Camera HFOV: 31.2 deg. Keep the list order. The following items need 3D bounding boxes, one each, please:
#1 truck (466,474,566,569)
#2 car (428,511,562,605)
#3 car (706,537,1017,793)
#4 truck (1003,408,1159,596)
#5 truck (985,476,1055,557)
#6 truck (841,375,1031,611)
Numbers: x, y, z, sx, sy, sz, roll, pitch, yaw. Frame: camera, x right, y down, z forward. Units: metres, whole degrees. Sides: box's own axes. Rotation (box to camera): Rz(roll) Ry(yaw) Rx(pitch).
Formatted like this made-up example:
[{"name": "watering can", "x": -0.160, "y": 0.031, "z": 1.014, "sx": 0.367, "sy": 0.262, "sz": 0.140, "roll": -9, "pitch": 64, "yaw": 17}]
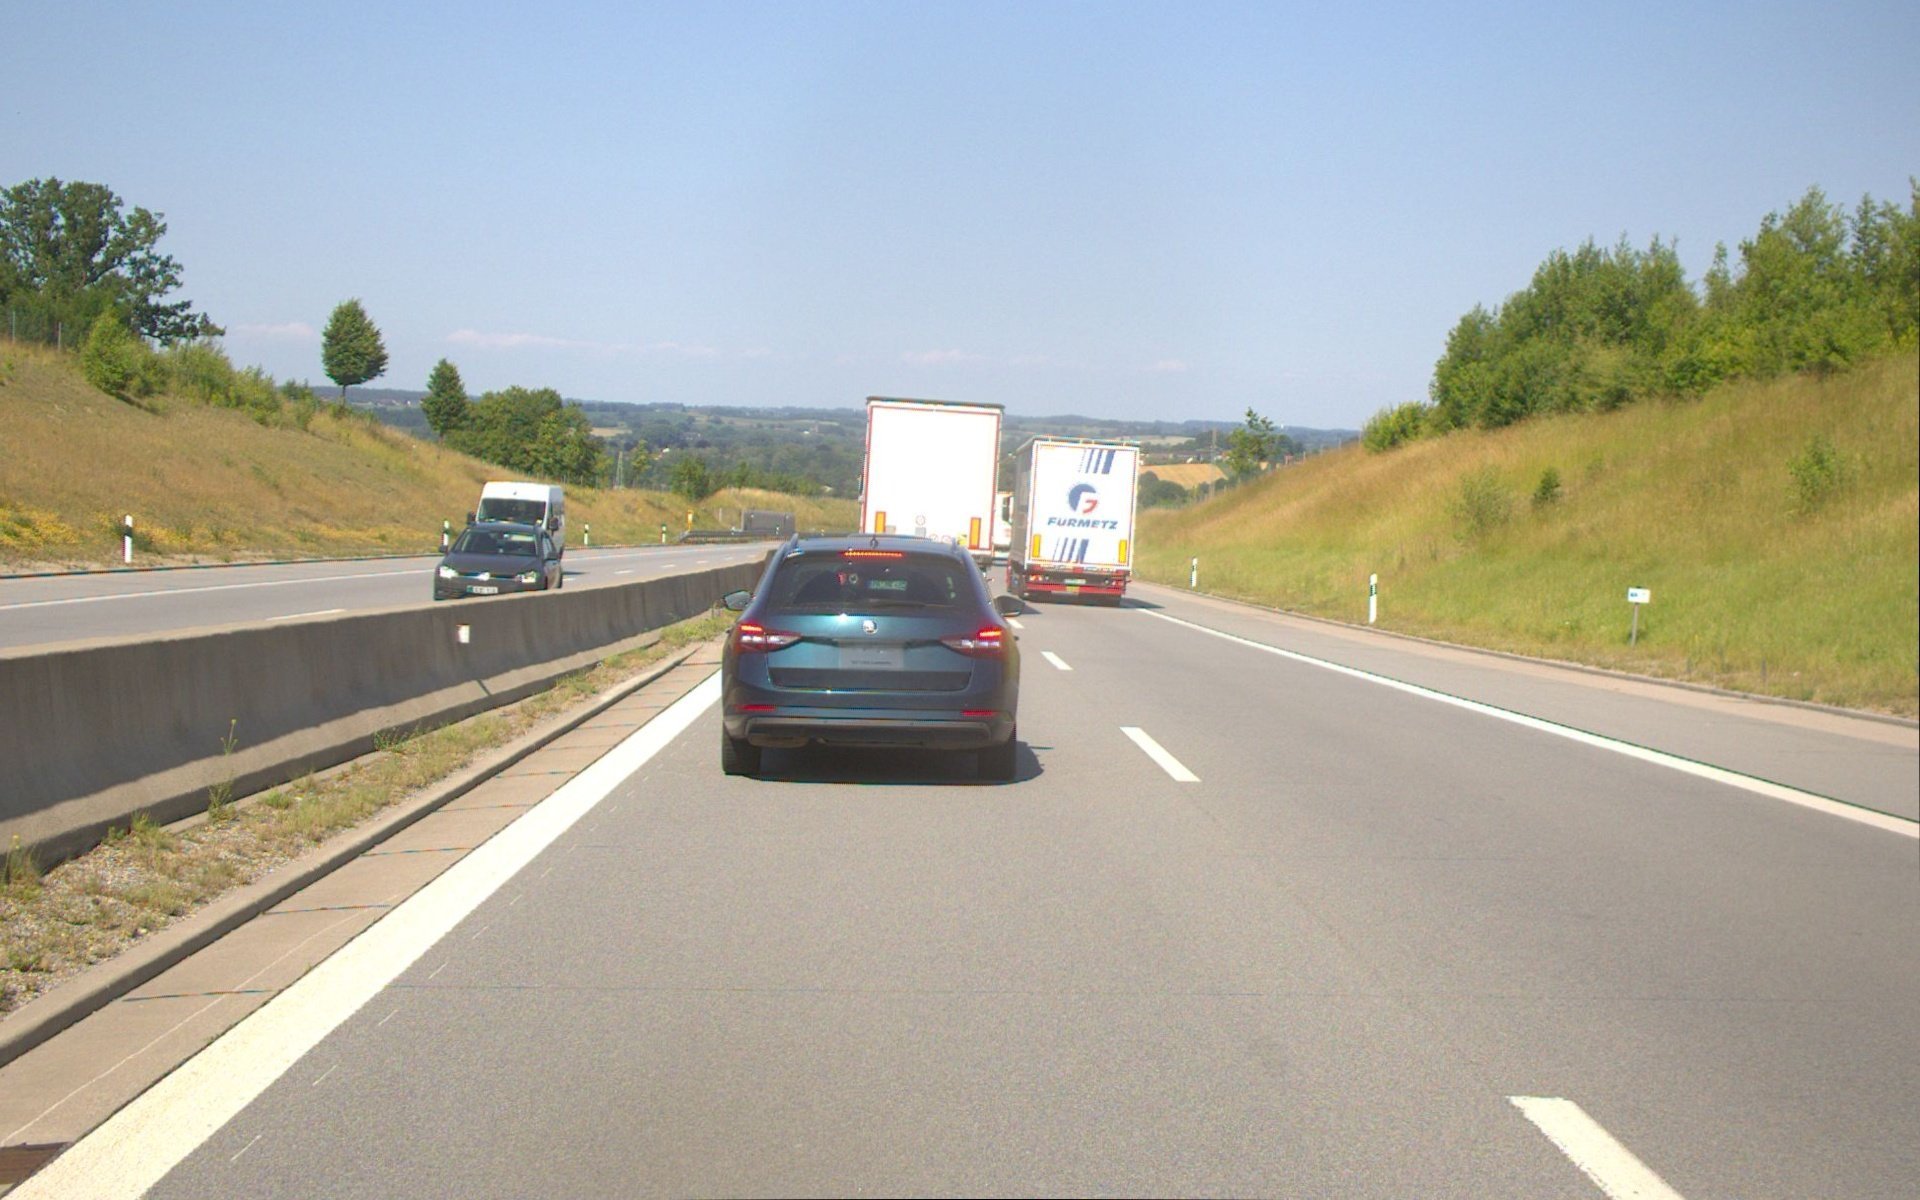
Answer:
[{"name": "truck", "x": -12.124, "y": -2.146, "z": 94.114, "sx": 1.993, "sy": 2.440, "sz": 5.668, "roll": 3, "pitch": 1, "yaw": -1}, {"name": "car", "x": -7.612, "y": -0.718, "z": 56.552, "sx": 1.773, "sy": 1.444, "sz": 4.184, "roll": 2, "pitch": 1, "yaw": -2}, {"name": "car", "x": -0.612, "y": 0.336, "z": 21.564, "sx": 1.776, "sy": 1.436, "sz": 3.789, "roll": 0, "pitch": 1, "yaw": -1}, {"name": "truck", "x": 3.079, "y": -2.441, "z": 86.713, "sx": 3.604, "sy": 4.366, "sz": 11.233, "roll": 1, "pitch": 1, "yaw": 2}, {"name": "truck", "x": 3.429, "y": -4.673, "z": 192.451, "sx": 3.604, "sy": 4.366, "sz": 11.233, "roll": 1, "pitch": 1, "yaw": 2}, {"name": "truck", "x": -0.341, "y": -2.140, "z": 70.028, "sx": 3.211, "sy": 4.366, "sz": 11.233, "roll": 1, "pitch": 1, "yaw": 3}]
